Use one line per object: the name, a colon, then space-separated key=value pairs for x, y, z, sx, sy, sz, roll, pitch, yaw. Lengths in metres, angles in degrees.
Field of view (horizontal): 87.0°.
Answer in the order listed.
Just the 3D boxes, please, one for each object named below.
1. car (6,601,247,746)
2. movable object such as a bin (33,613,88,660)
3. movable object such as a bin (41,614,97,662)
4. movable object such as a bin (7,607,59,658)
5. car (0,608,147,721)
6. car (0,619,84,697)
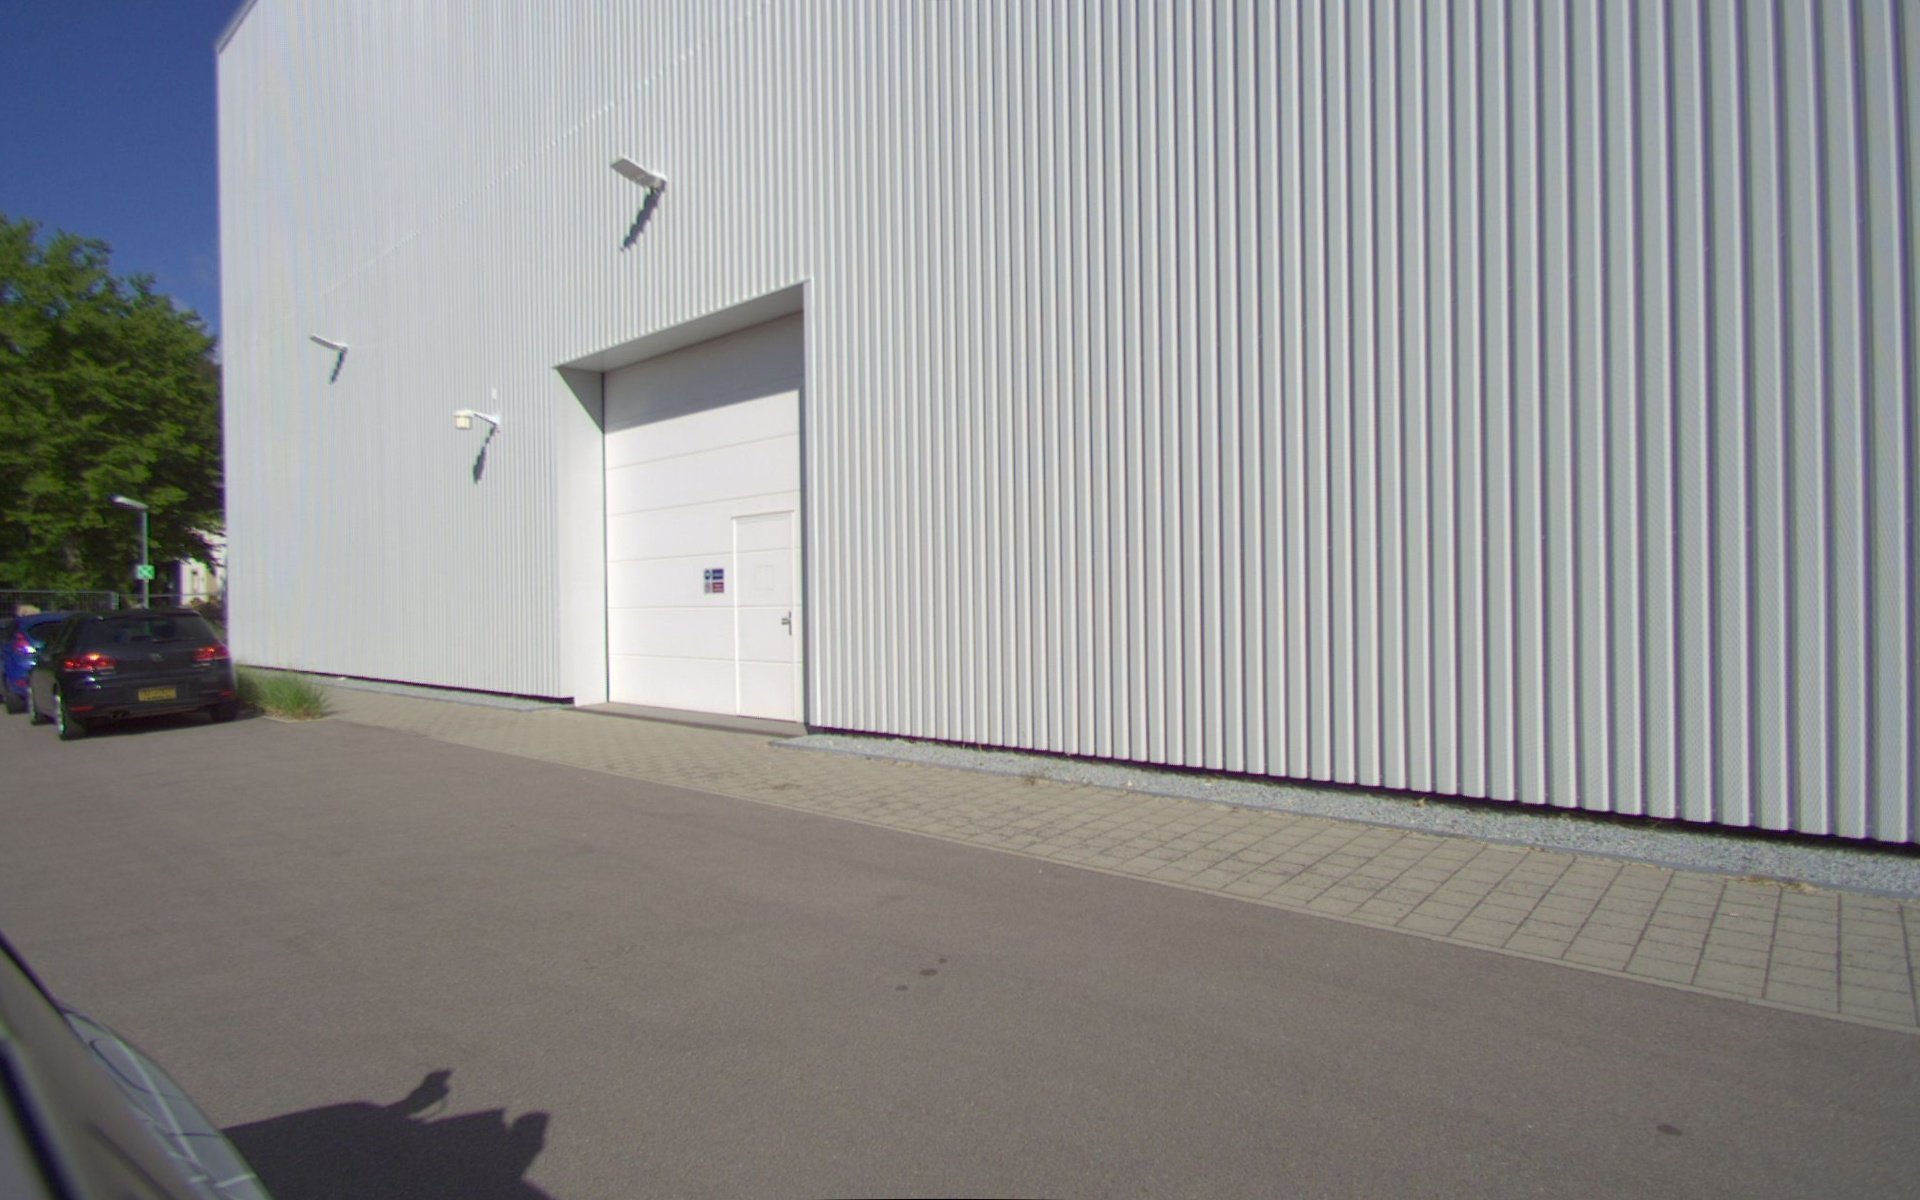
car: x=-10.909 y=0.833 z=13.135 sx=4.292 sy=1.511 sz=1.736 roll=-1 pitch=1 yaw=42
movable object such as a bin: x=-29.481 y=1.191 z=33.179 sx=1.228 sy=1.450 sz=1.080 roll=0 pitch=2 yaw=36
movable object such as a bin: x=-28.455 y=1.207 z=32.327 sx=1.228 sy=1.443 sz=1.080 roll=0 pitch=2 yaw=36
movable object such as a bin: x=-31.211 y=1.075 z=34.076 sx=1.228 sy=1.609 sz=1.080 roll=1 pitch=1 yaw=36
car: x=-14.640 y=0.953 z=16.300 sx=4.092 sy=1.511 sz=1.614 roll=-1 pitch=2 yaw=40
car: x=-18.748 y=1.090 z=19.870 sx=4.051 sy=1.371 sz=1.756 roll=-1 pitch=0 yaw=41
